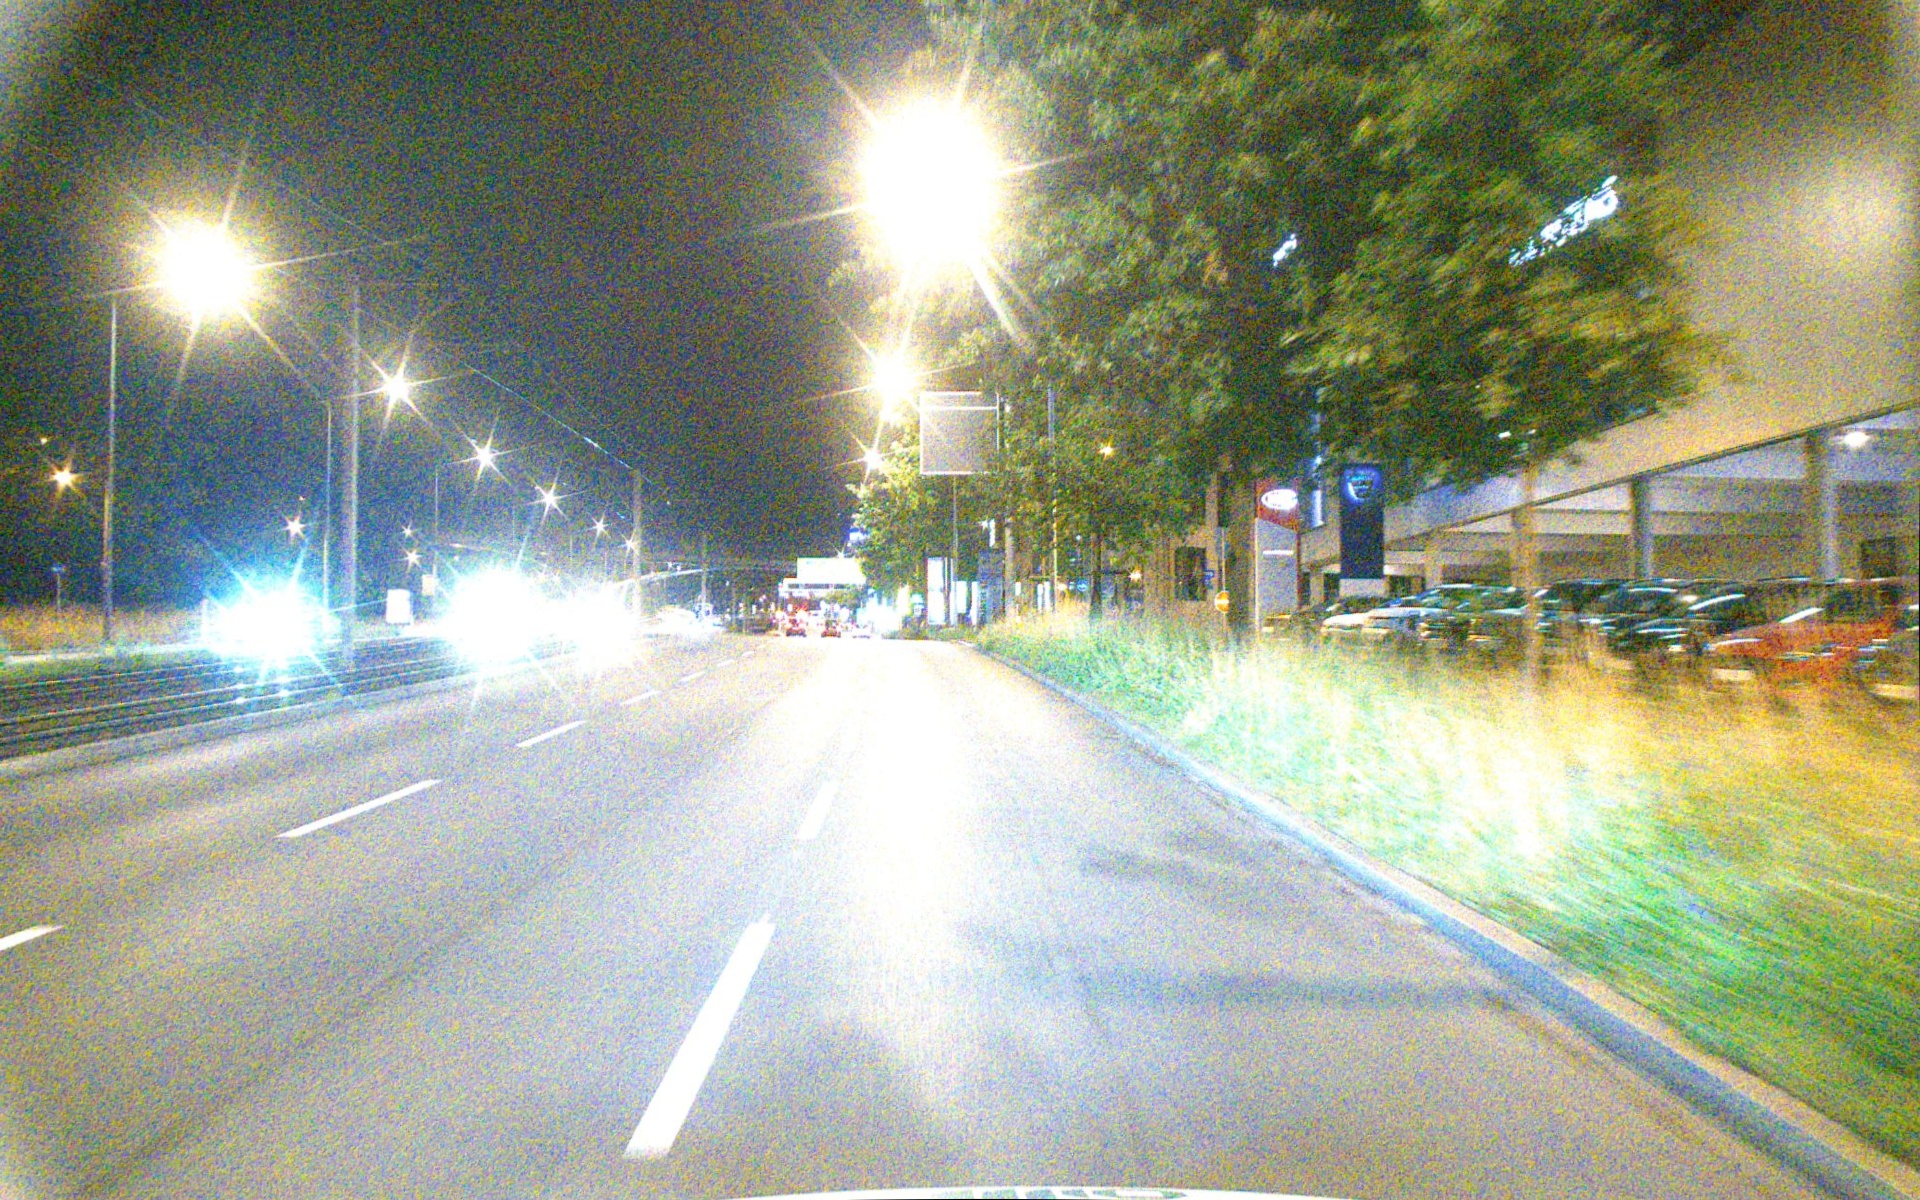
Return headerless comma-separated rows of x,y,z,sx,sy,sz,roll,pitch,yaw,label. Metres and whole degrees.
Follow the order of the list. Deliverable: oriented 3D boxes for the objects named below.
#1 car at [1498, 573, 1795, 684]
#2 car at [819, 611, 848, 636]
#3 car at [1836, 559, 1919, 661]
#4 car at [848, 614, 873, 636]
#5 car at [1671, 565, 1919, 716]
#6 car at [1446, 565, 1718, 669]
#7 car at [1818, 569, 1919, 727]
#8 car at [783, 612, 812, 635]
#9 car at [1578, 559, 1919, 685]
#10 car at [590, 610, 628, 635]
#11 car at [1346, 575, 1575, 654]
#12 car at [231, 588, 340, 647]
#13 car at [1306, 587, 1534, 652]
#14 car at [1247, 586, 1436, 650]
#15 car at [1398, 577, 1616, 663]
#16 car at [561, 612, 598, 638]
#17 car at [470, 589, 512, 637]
10.017,0.365,24.120,3.935,1.416,1.813,-2,1,-24,car
-11.101,2.030,145.294,2.308,2.166,4.824,1,-1,-2,car
15.035,0.146,24.089,1.607,1.490,3.749,0,0,-34,car
-10.197,2.553,169.042,2.378,2.150,4.824,1,-1,-2,car
10.246,0.375,18.499,3.961,1.397,1.817,-4,1,-18,car
10.113,0.251,26.928,3.930,1.495,1.821,-2,0,-21,car
10.468,0.337,15.909,3.705,1.402,1.710,-4,1,-15,car
-14.674,2.110,149.390,2.217,2.049,4.824,1,-1,-2,car
10.323,0.251,21.507,3.917,1.405,1.803,-2,1,-12,car
-21.544,1.382,101.665,1.588,1.465,4.335,-1,0,-3,car
9.719,0.262,32.189,3.927,1.448,1.899,0,1,-19,car
-21.051,0.538,51.781,1.743,1.743,4.225,1,-1,-1,car
9.722,0.383,34.911,4.573,1.286,1.931,0,1,-27,car
9.163,0.444,39.850,4.053,1.445,1.869,1,-1,-15,car
9.739,0.366,29.436,3.556,1.458,1.666,1,-1,-25,car
-25.782,1.672,112.050,1.955,1.622,3.994,-1,0,-7,car
-28.599,0.824,100.950,2.109,2.718,6.936,-2,-1,-14,car
